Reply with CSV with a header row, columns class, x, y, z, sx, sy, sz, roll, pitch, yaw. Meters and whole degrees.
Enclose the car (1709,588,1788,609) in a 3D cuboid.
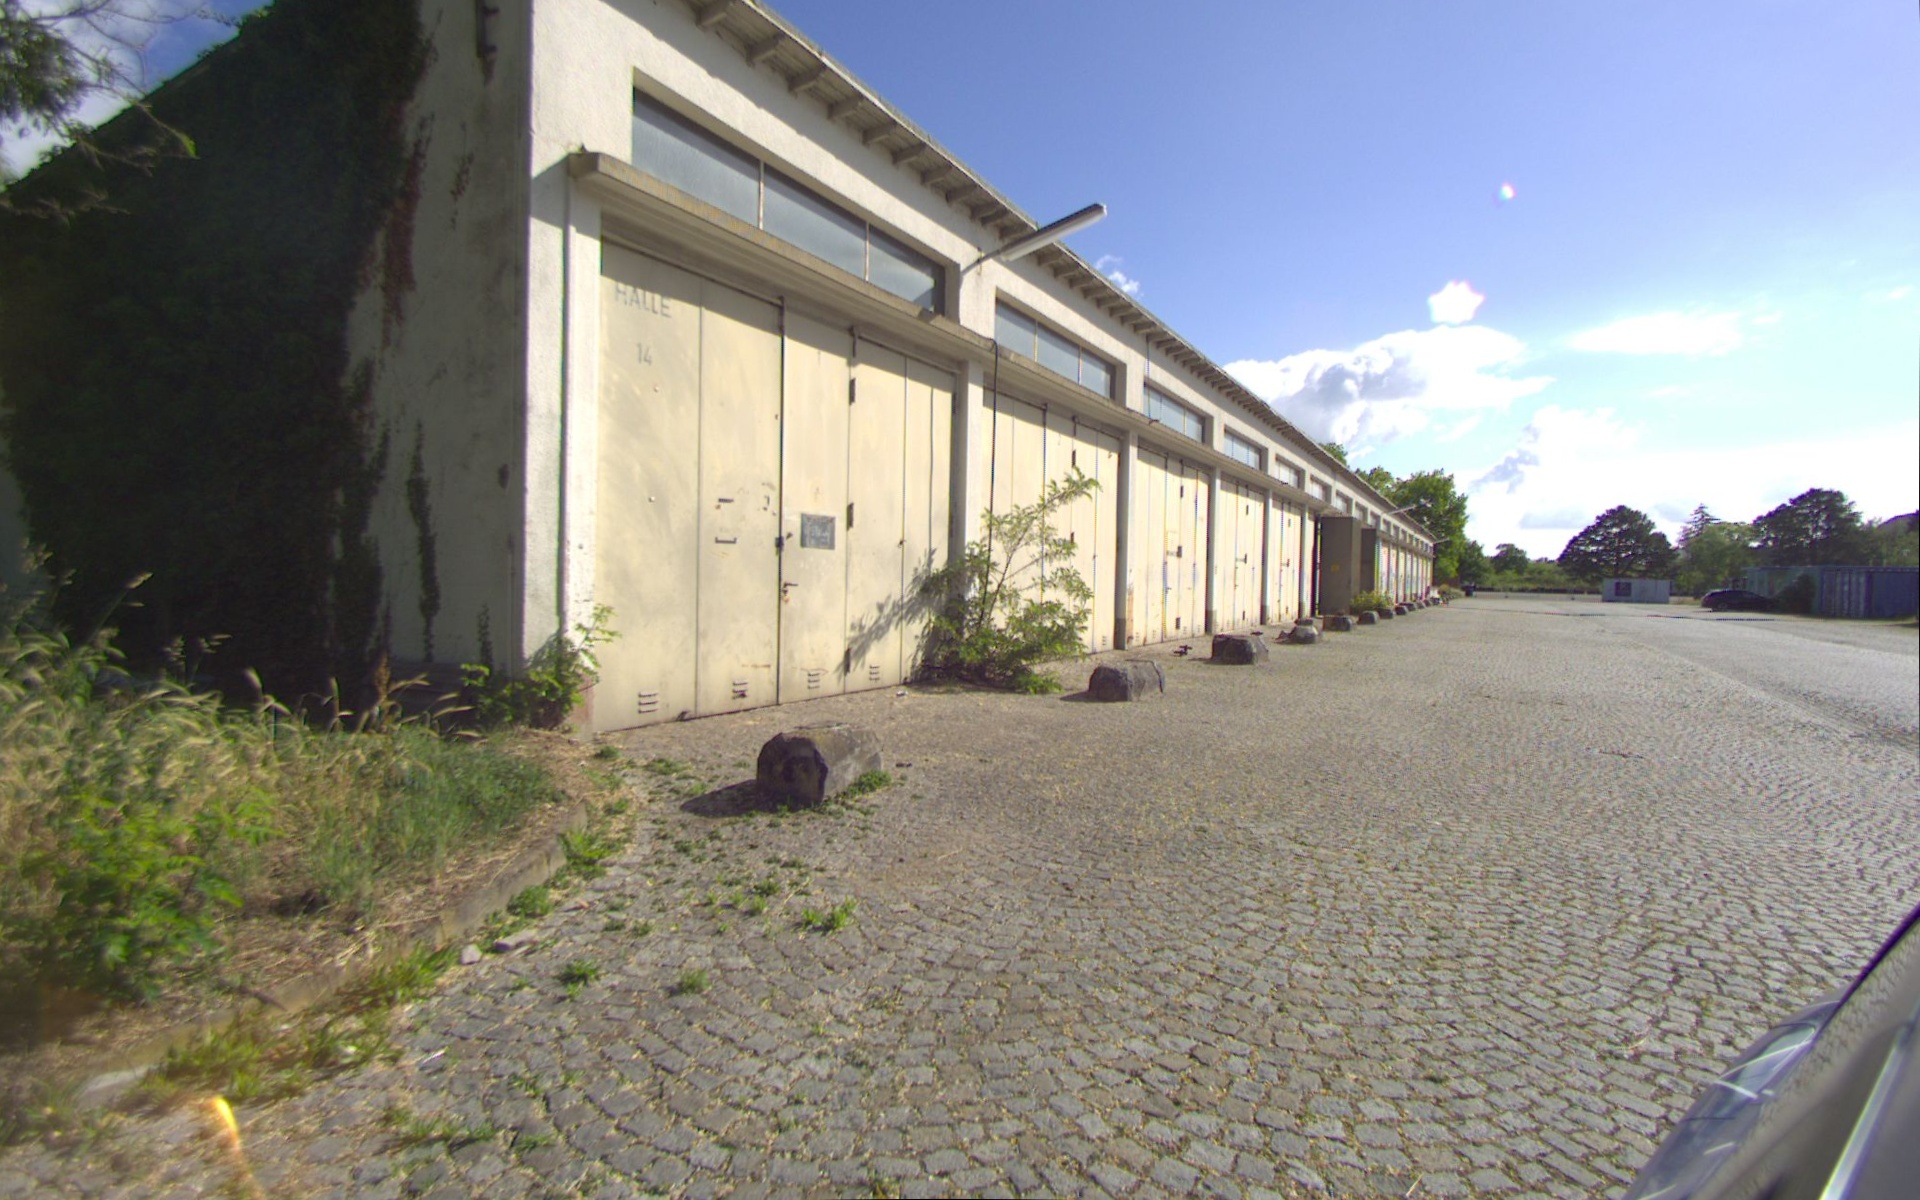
class,x,y,z,sx,sy,sz,roll,pitch,yaw
car,51.938,-0.094,66.754,3.840,1.282,1.576,1,1,27
